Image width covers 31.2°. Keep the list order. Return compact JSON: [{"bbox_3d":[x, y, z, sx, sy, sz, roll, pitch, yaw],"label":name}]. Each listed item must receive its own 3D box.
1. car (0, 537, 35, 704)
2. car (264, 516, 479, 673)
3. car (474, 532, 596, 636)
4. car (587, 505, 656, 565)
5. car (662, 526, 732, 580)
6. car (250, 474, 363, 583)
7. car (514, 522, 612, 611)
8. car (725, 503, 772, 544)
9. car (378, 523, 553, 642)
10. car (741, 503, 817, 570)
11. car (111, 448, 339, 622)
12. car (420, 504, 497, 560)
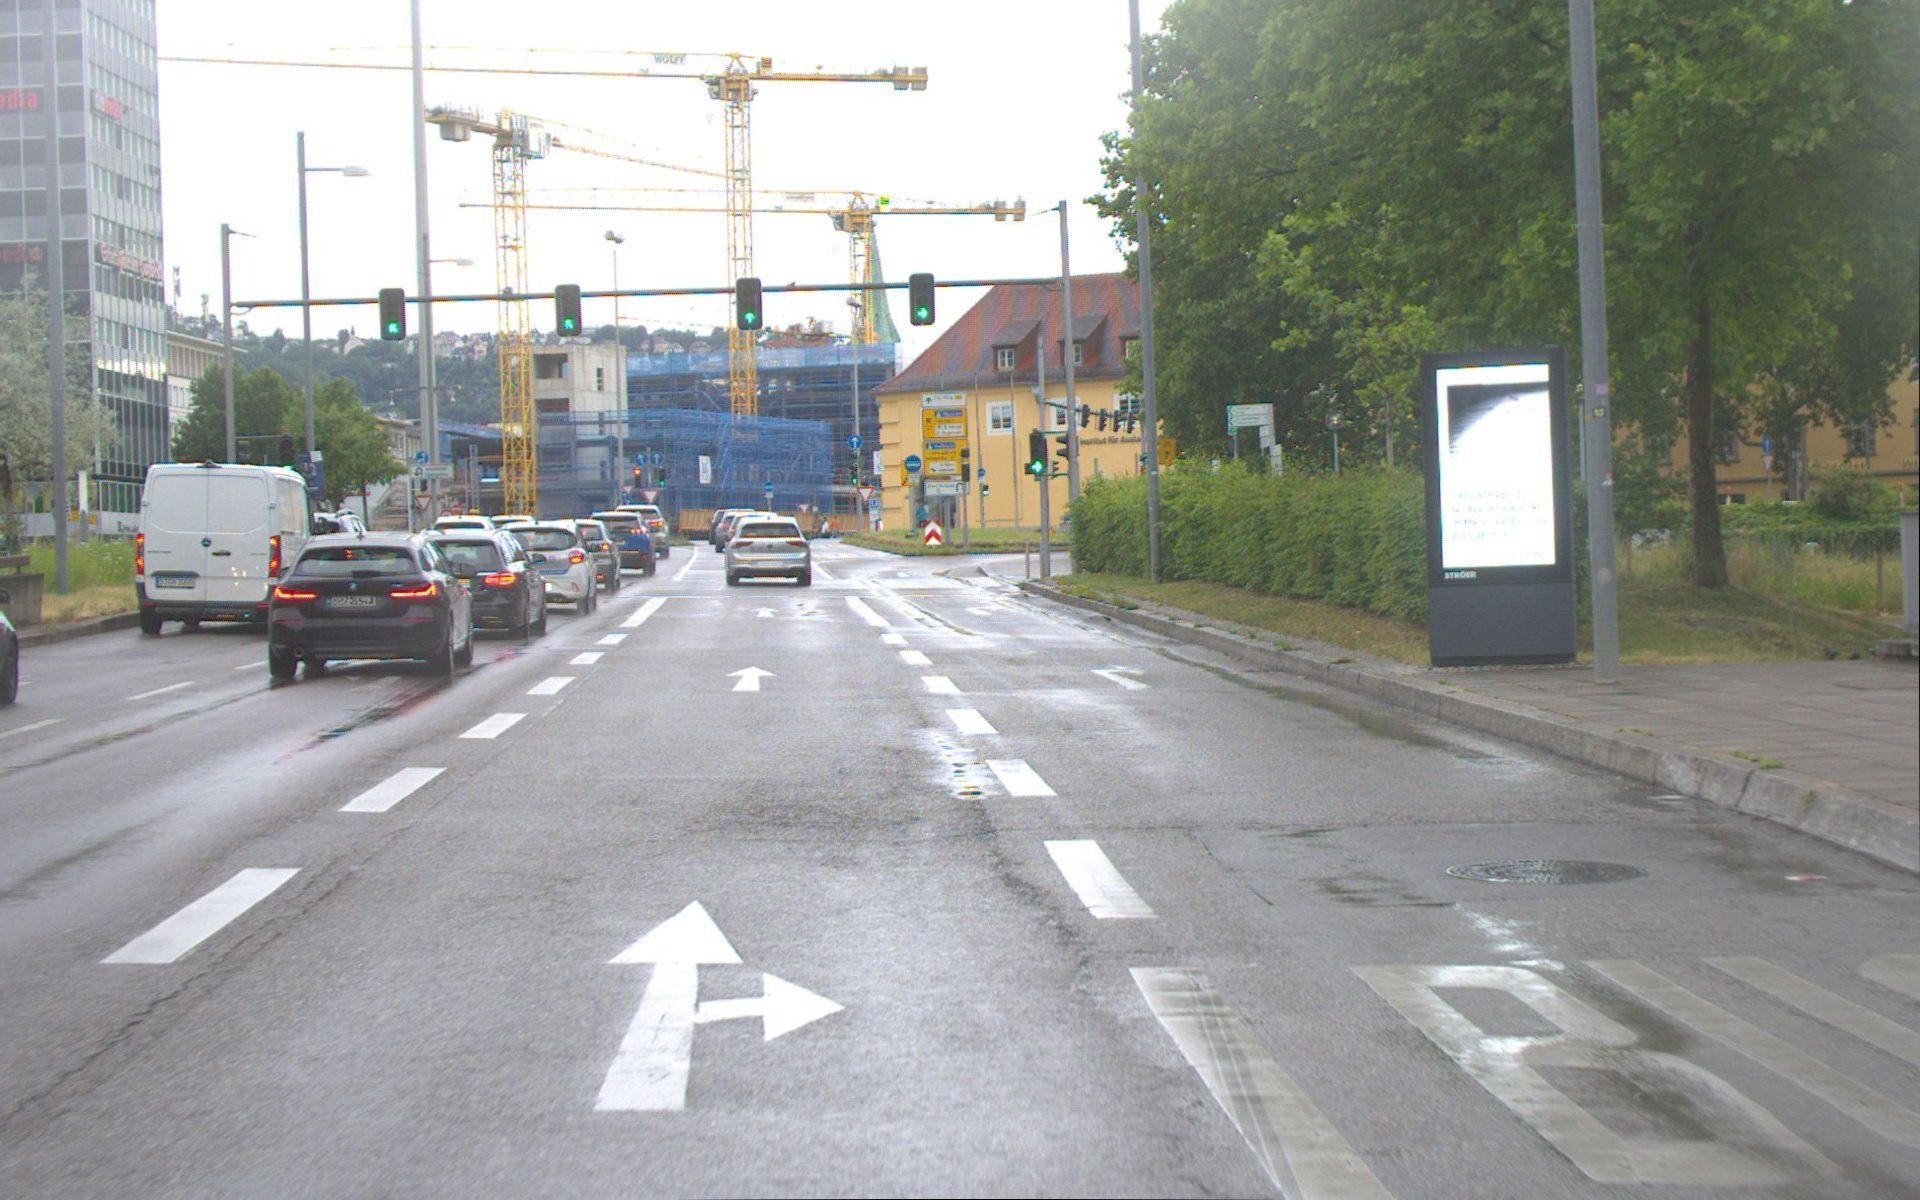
[{"bbox_3d":[-8.823,0.177,28.327,1.542,1.410,3.902,0,0,-3],"label":"car"},{"bbox_3d":[-5.993,-0.105,35.435,1.753,1.466,4.223,-1,2,-4],"label":"car"},{"bbox_3d":[-6.916,-0.254,56.195,1.880,1.647,3.458,0,0,-5],"label":"car"},{"bbox_3d":[-8.057,-1.525,81.905,1.493,1.365,3.033,0,0,-3],"label":"car"},{"bbox_3d":[-9.328,-1.652,122.121,2.161,1.873,3.770,0,0,0],"label":"car"},{"bbox_3d":[-10.614,-1.144,55.986,1.464,1.700,3.142,0,0,-5],"label":"car"},{"bbox_3d":[-7.940,-0.654,68.905,1.716,1.721,3.495,0,0,-3],"label":"car"},{"bbox_3d":[-5.509,-1.997,89.593,1.076,0.987,1.971,0,-1,0],"label":"car"},{"bbox_3d":[-6.403,-0.221,44.834,1.830,1.489,3.399,0,0,-1],"label":"car"},{"bbox_3d":[-3.801,-1.328,72.404,1.444,1.354,2.412,0,0,0],"label":"car"},{"bbox_3d":[-10.260,-0.867,48.386,2.292,2.306,5.006,0,0,-2],"label":"car"},{"bbox_3d":[-11.751,-1.594,80.707,1.551,1.256,2.580,0,0,-3],"label":"car"}]
